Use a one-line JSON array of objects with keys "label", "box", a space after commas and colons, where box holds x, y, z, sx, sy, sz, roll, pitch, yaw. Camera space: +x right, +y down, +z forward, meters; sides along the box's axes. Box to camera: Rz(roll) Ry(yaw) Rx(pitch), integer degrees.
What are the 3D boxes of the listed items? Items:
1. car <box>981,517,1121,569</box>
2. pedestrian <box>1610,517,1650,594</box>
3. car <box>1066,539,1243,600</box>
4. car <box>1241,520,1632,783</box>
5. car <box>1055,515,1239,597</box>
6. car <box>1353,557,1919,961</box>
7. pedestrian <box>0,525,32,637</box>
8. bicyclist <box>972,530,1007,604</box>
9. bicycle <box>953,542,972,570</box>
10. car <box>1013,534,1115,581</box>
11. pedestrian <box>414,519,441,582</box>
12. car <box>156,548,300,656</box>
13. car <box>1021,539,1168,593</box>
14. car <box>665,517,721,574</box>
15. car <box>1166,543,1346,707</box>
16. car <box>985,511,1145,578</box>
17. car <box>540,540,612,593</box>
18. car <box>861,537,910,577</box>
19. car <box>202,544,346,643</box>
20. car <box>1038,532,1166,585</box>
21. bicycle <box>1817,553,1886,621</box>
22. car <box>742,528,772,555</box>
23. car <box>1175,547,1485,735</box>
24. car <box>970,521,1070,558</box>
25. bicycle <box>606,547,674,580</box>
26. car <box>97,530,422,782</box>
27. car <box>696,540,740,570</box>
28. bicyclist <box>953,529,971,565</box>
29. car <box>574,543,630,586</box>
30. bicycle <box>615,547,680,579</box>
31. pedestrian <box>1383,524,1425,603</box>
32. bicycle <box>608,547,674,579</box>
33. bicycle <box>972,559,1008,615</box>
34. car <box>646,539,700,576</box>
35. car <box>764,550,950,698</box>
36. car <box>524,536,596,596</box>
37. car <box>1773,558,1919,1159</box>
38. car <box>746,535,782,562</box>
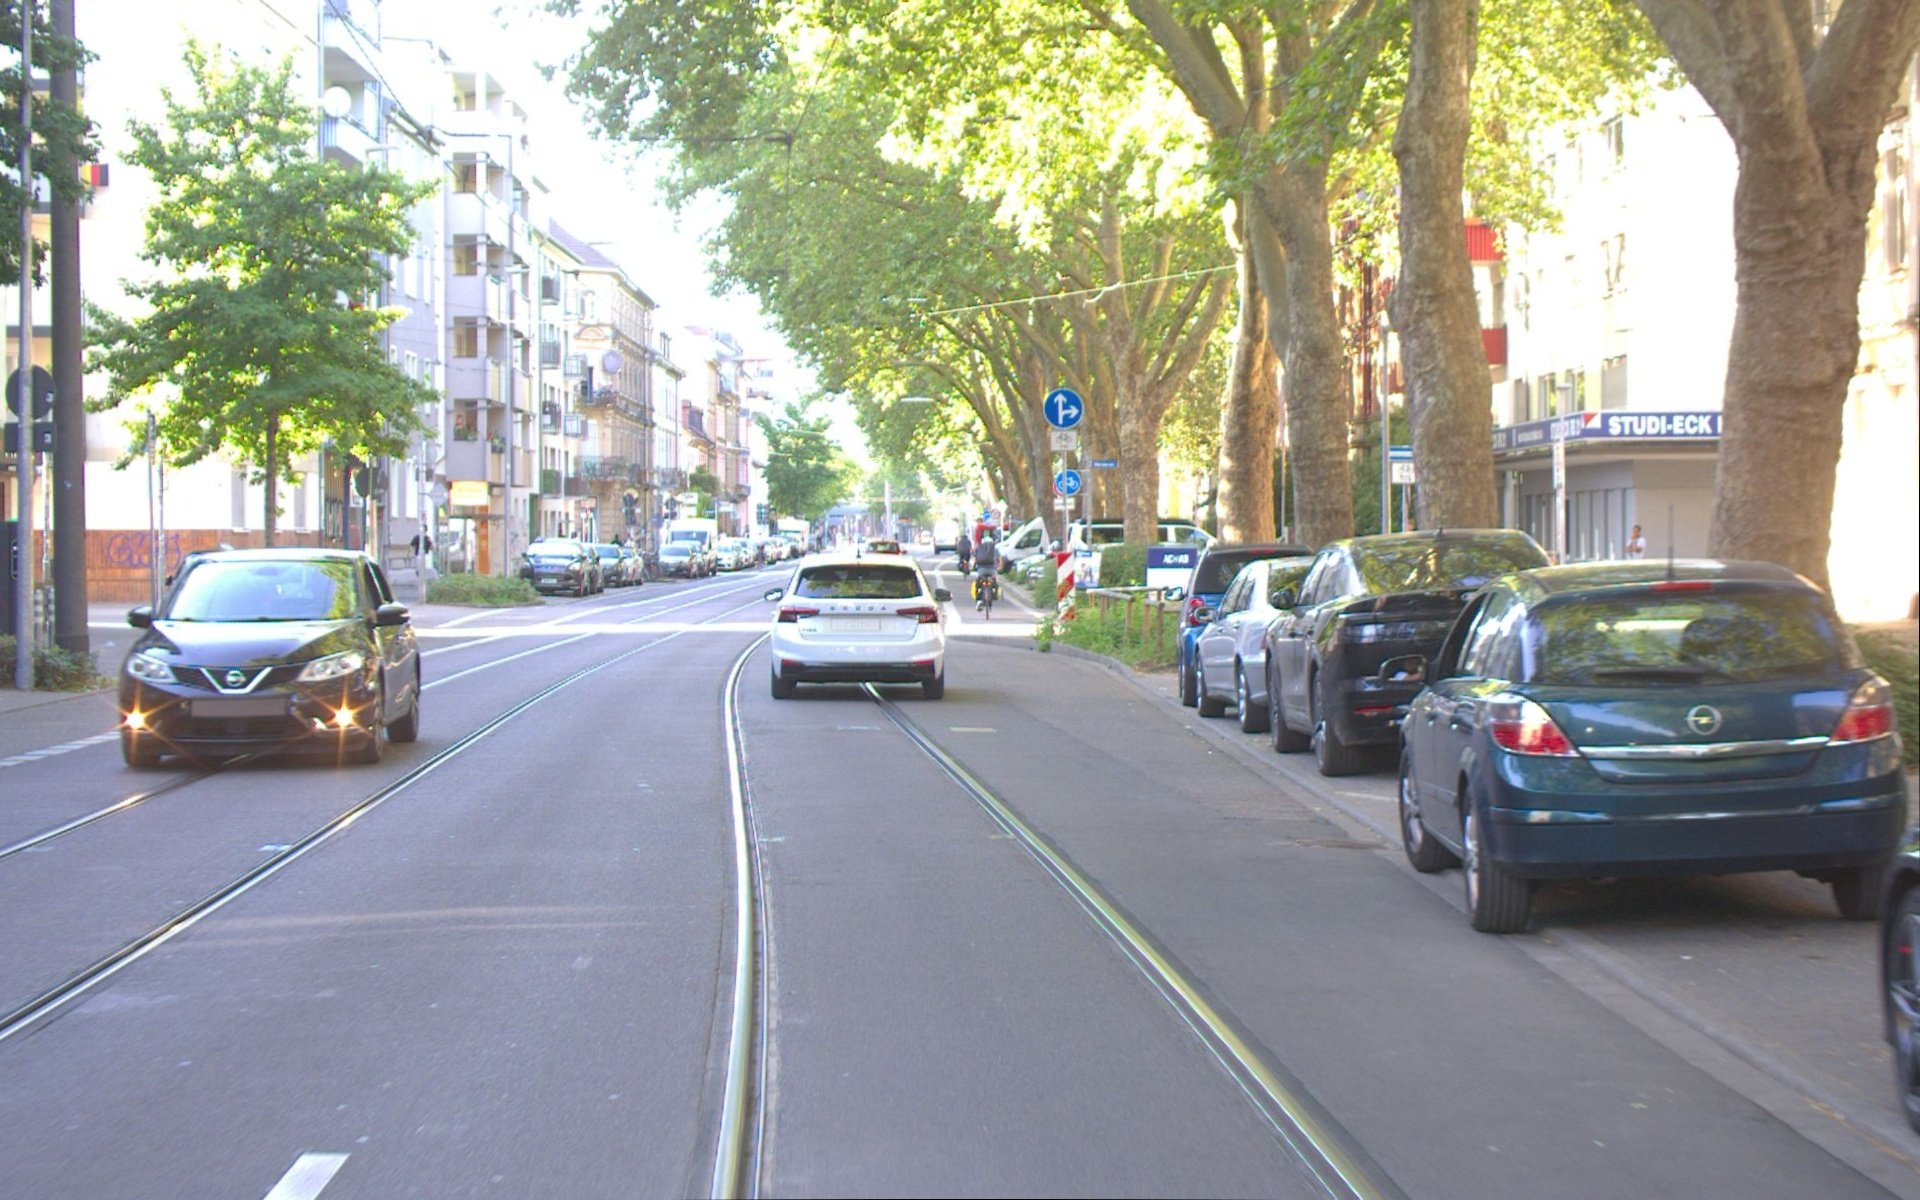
[{"label": "car", "box": [4.050, -2.562, 154.105, 6.130, 2.274, 2.529, 0, 1, -2]}, {"label": "pedestrian", "box": [14.394, -0.951, 73.857, 0.746, 1.639, 0.666, 0, 1, 1]}, {"label": "car", "box": [4.841, -0.769, 85.929, 4.297, 1.474, 1.831, 0, 1, -1]}, {"label": "car", "box": [3.180, 0.316, 23.929, 1.857, 1.598, 4.782, -1, 0, -2]}, {"label": "car", "box": [4.799, -1.135, 88.502, 4.543, 2.069, 2.001, 0, 1, -3]}, {"label": "car", "box": [2.856, 0.564, 14.844, 1.864, 1.432, 4.226, -1, 1, 1]}, {"label": "pedestrian", "box": [-14.488, -0.294, 52.117, 0.663, 1.685, 0.749, 0, 1, -2]}, {"label": "bicyclist", "box": [0.574, -0.649, 67.395, 0.678, 1.438, 1.047, -1, 1, 0]}, {"label": "bicycle", "box": [0.077, -1.670, 130.206, 0.649, 1.067, 1.583, -1, 1, -2]}, {"label": "car", "box": [3.738, -1.522, 123.241, 3.634, 1.661, 1.822, 0, 1, 2]}, {"label": "pedestrian", "box": [-15.549, -1.441, 100.453, 0.663, 1.820, 0.965, 0, 1, -2]}, {"label": "car", "box": [-10.867, 0.005, 51.221, 1.713, 1.459, 4.001, 3, 1, -8]}, {"label": "car", "box": [3.887, -0.996, 99.717, 4.142, 1.509, 1.931, 0, 1, -1]}, {"label": "car", "box": [-12.181, -2.490, 157.045, 2.178, 2.588, 4.949, 0, 1, 0]}, {"label": "car", "box": [2.879, 0.228, 33.921, 1.564, 1.514, 2.910, -1, 0, 2]}, {"label": "car", "box": [4.119, -2.187, 135.487, 6.130, 2.626, 2.529, 0, 1, -2]}, {"label": "car", "box": [-11.768, -1.040, 105.510, 1.702, 1.539, 4.242, 2, 1, -1]}, {"label": "car", "box": [-2.805, -1.629, 130.353, 1.761, 1.470, 4.000, -1, 1, 0]}, {"label": "car", "box": [-11.125, -0.134, 55.977, 1.713, 1.459, 4.378, 3, 1, -4]}, {"label": "car", "box": [4.561, -1.341, 110.630, 3.986, 1.674, 1.724, 0, 1, -1]}, {"label": "bicycle", "box": [14.835, -0.223, 57.242, 0.582, 1.100, 1.923, -2, 1, -1]}, {"label": "car", "box": [-15.243, -4.396, 258.469, 1.993, 2.007, 4.000, 0, 1, 0]}, {"label": "car", "box": [3.063, 0.315, 29.384, 1.816, 1.431, 4.604, -1, 0, -4]}, {"label": "car", "box": [3.724, -3.768, 214.323, 6.130, 2.274, 2.529, 0, 1, -2]}, {"label": "bicycle", "box": [-12.402, -1.413, 133.395, 2.525, 1.168, 0.883, 2, -1, -40]}, {"label": "car", "box": [-4.948, 0.332, 24.776, 1.871, 1.584, 4.148, 2, 1, -6]}, {"label": "car", "box": [-12.463, -2.306, 177.380, 1.993, 1.525, 4.000, 0, 1, 0]}, {"label": "bicyclist", "box": [0.068, -2.020, 130.213, 0.649, 1.339, 0.934, -1, 1, -2]}, {"label": "car", "box": [-12.092, -1.216, 116.321, 1.653, 1.432, 3.837, 0, 1, -2]}, {"label": "bicycle", "box": [-12.540, -1.490, 137.960, 2.524, 1.168, 0.719, 2, -1, -6]}, {"label": "pedestrian", "box": [10.608, -0.879, 82.215, 0.766, 1.860, 1.189, -1, 1, -4]}, {"label": "bicycle", "box": [-12.463, -1.429, 134.182, 2.524, 1.168, 0.719, 2, -1, -6]}, {"label": "bicycle", "box": [0.578, -0.260, 67.516, 0.681, 1.067, 1.781, -1, 1, 0]}, {"label": "car", "box": [-12.117, -1.798, 145.329, 1.993, 1.525, 4.000, 0, 1, 0]}, {"label": "car", "box": [-1.052, 0.203, 34.895, 1.761, 1.379, 4.000, -1, 1, -2]}, {"label": "car", "box": [-11.674, -1.023, 100.433, 1.702, 1.645, 4.242, 2, 1, -2]}, {"label": "car", "box": [3.262, 0.649, 7.190, 1.764, 1.457, 5.013, 0, 1, -2]}, {"label": "car", "box": [-12.165, -3.180, 213.375, 1.993, 1.634, 4.000, 1, 1, 0]}]
